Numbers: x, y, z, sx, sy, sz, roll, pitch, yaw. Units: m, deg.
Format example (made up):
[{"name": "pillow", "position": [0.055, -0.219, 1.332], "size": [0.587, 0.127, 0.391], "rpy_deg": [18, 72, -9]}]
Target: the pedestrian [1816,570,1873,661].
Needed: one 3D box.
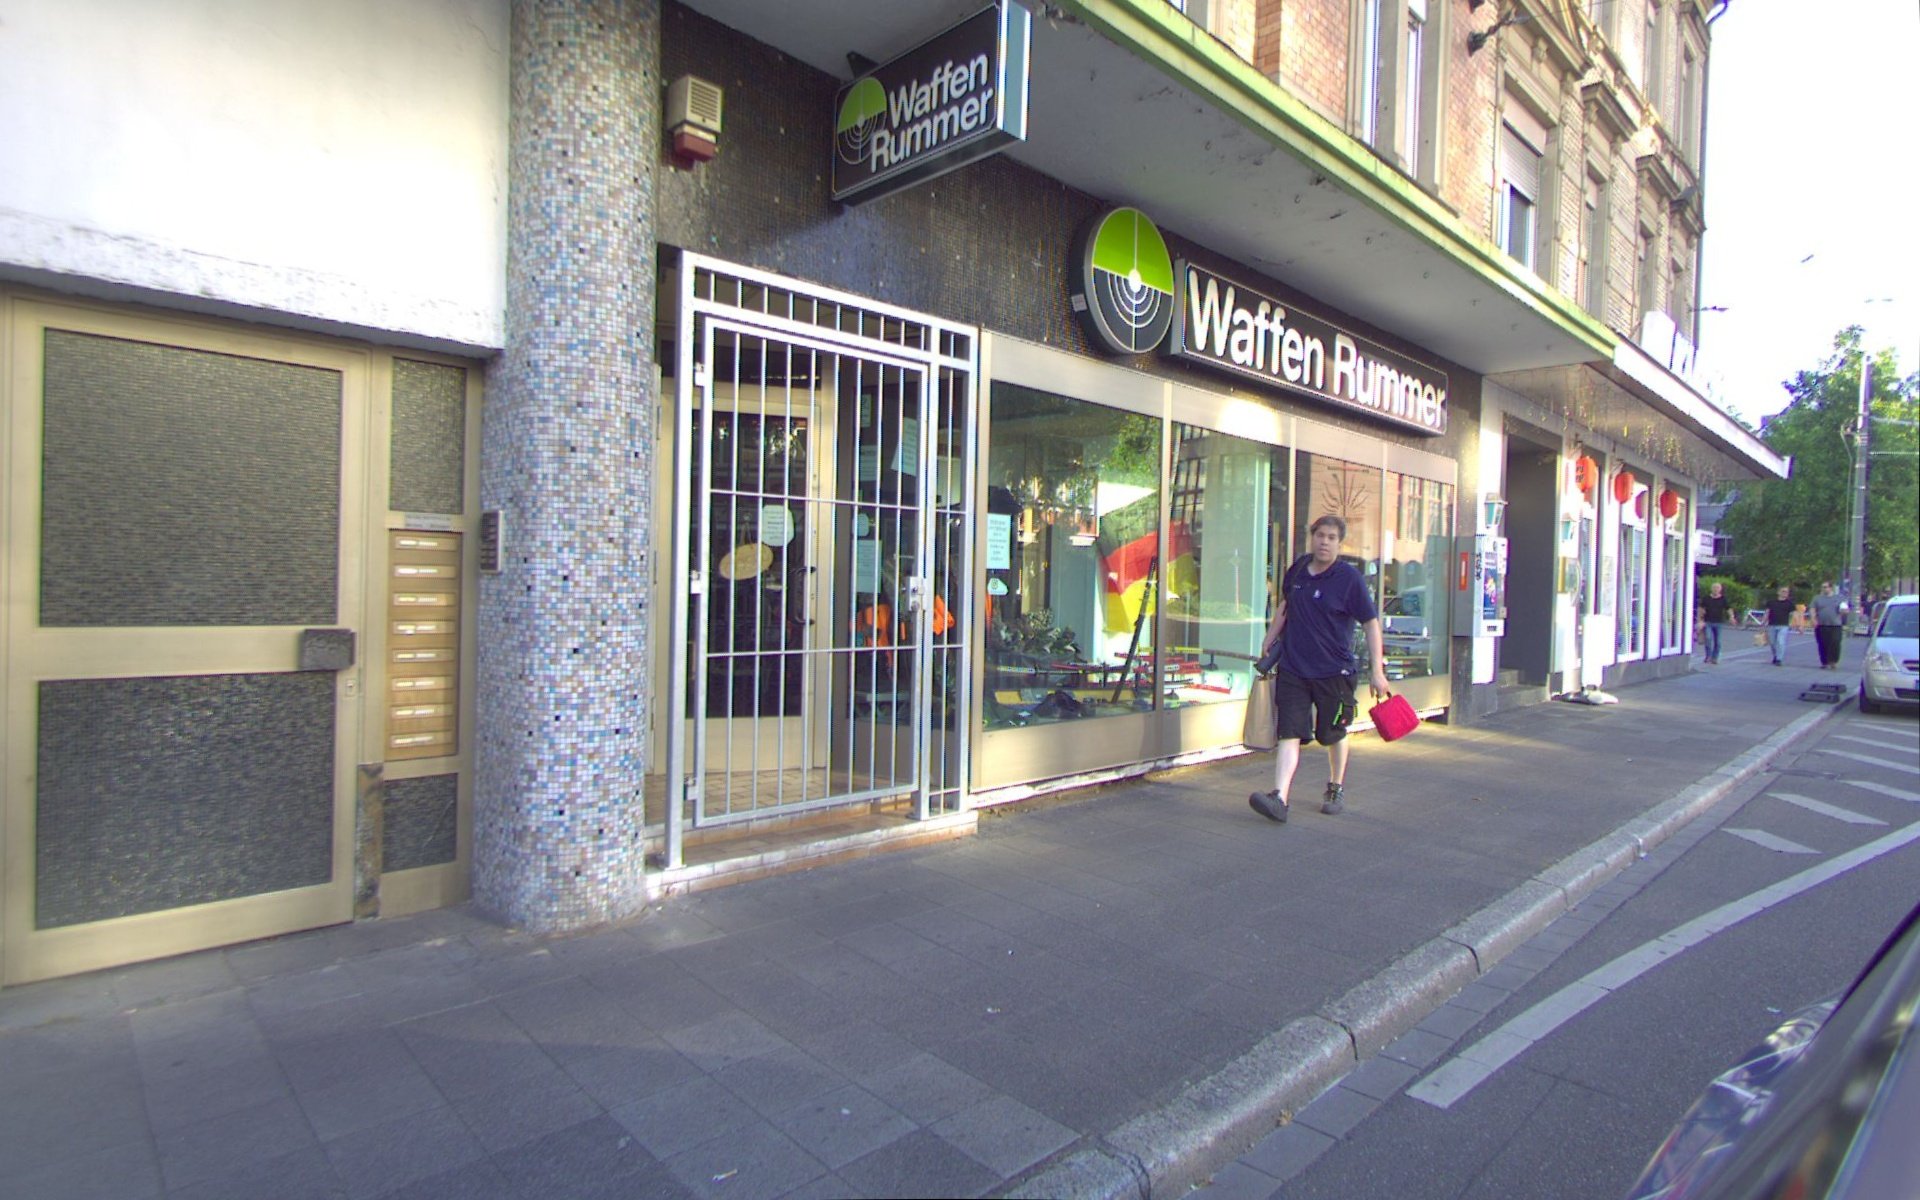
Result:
[{"name": "pedestrian", "position": [19.317, 0.319, 22.104], "size": [1.016, 1.922, 0.794], "rpy_deg": [0, 2, -44]}]

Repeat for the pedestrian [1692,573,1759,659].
[{"name": "pedestrian", "position": [16.385, 0.330, 21.668], "size": [1.016, 1.734, 0.902], "rpy_deg": [0, 4, -44]}]

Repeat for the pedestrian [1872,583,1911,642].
[{"name": "pedestrian", "position": [28.613, 0.375, 31.084], "size": [0.930, 1.759, 0.788], "rpy_deg": [0, 1, -44]}]

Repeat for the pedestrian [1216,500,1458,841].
[{"name": "pedestrian", "position": [2.264, 0.352, 6.074], "size": [1.037, 1.814, 0.947], "rpy_deg": [0, 2, -44]}]

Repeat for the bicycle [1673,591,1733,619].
[{"name": "bicycle", "position": [32.391, 0.214, 44.128], "size": [2.012, 1.109, 0.628], "rpy_deg": [4, 2, 40]}]

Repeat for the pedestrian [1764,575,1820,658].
[{"name": "pedestrian", "position": [18.531, 0.351, 22.539], "size": [1.016, 1.778, 0.811], "rpy_deg": [0, 2, -44]}]

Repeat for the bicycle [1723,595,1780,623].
[{"name": "bicycle", "position": [34.054, 0.369, 43.554], "size": [0.461, 1.109, 1.882], "rpy_deg": [0, 2, -45]}]

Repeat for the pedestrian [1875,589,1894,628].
[{"name": "pedestrian", "position": [41.297, 0.372, 45.187], "size": [0.430, 1.734, 0.493], "rpy_deg": [0, 4, -44]}]

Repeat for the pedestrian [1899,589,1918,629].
[{"name": "pedestrian", "position": [41.769, 0.381, 44.571], "size": [0.430, 1.734, 0.493], "rpy_deg": [0, 4, -44]}]

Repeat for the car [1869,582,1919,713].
[{"name": "car", "position": [13.605, 0.588, 13.788], "size": [1.638, 1.635, 3.881], "rpy_deg": [1, 1, 45]}]
